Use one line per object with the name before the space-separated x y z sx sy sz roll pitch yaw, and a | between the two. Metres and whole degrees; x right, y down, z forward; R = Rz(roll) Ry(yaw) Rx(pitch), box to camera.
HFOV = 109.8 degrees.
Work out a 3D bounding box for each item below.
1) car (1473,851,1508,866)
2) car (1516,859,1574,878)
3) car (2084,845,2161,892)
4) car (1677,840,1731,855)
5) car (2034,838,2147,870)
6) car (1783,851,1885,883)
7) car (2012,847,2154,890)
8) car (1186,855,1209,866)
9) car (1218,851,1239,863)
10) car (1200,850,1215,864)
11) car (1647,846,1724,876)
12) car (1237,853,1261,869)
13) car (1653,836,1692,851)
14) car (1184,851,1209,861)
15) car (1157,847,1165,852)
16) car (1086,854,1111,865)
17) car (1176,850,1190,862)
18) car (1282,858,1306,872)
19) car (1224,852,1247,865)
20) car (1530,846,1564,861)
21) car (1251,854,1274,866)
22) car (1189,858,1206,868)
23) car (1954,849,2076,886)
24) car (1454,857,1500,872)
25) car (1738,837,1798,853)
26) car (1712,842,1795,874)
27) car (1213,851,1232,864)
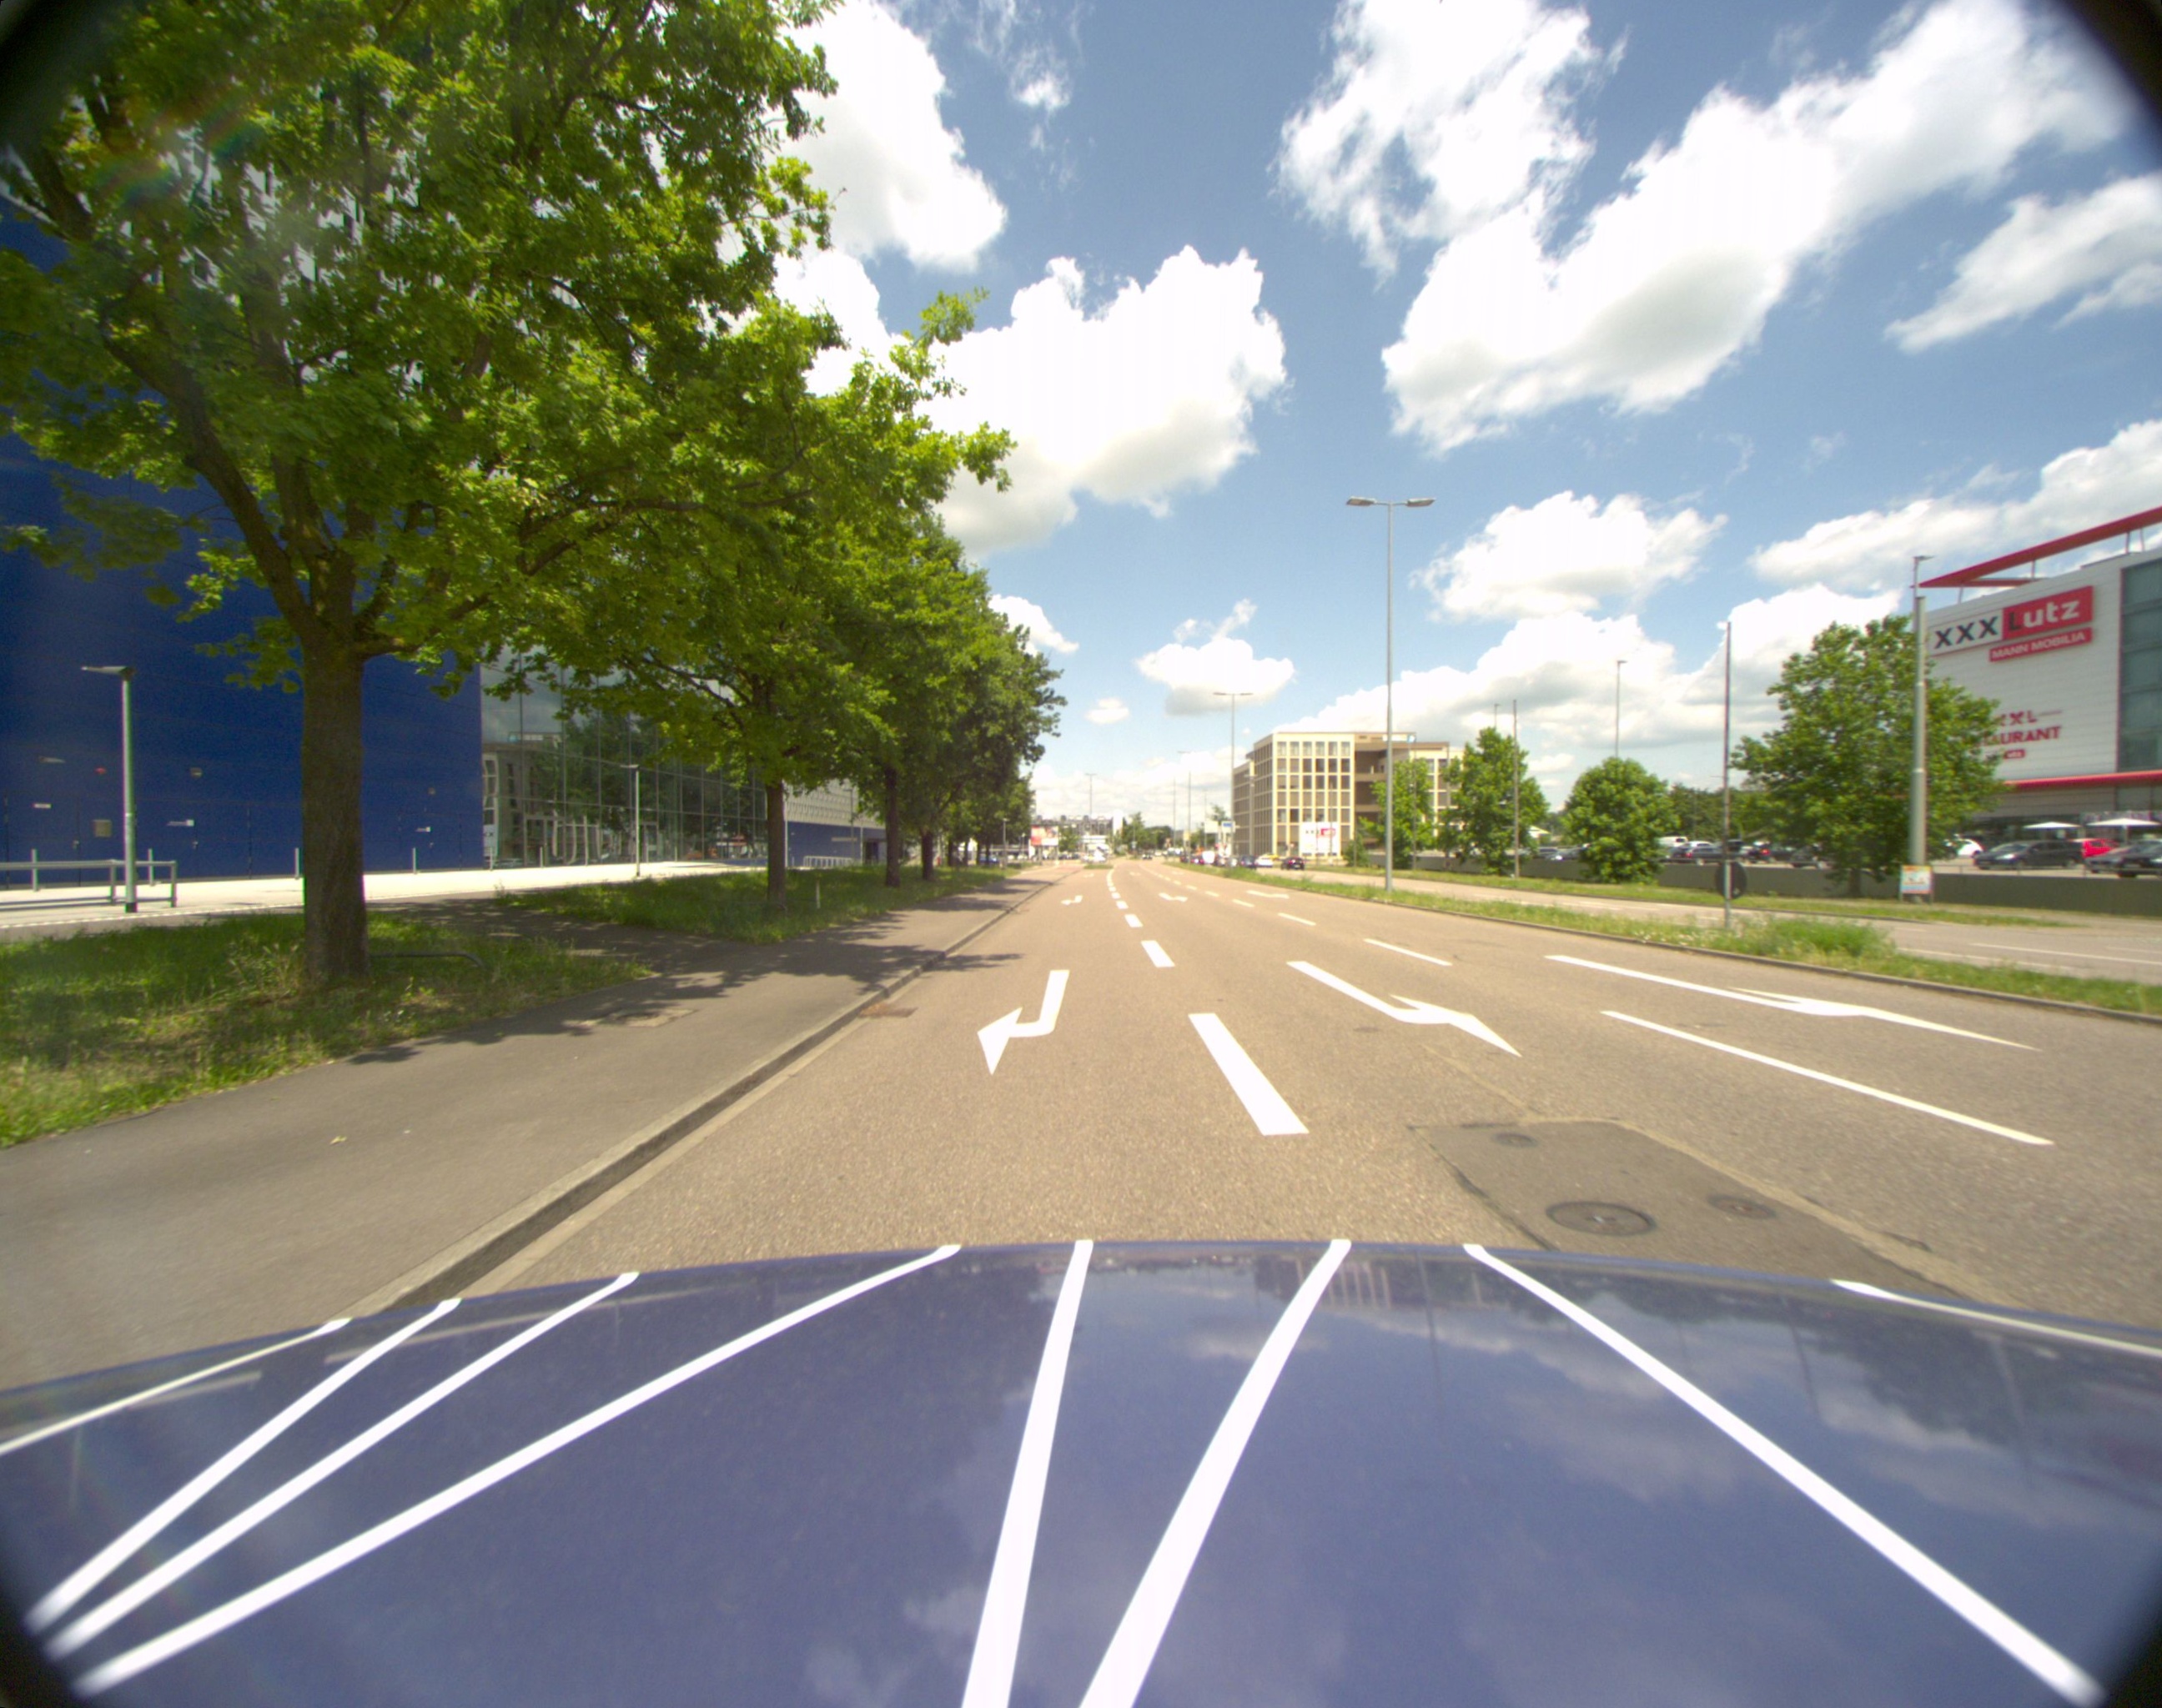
car | 51.417 0.511 95.573 1.854 1.822 4.674 0 0 0
car | 41.565 1.286 68.161 3.996 1.586 1.850 0 0 4
car | 47.058 0.614 32.967 4.359 1.978 2.000 0 1 0
car | 63.103 -0.636 77.012 3.829 1.461 1.856 0 0 3
car | 63.012 0.009 47.482 4.359 1.978 2.000 0 1 0
car | 46.927 0.815 47.422 4.359 1.977 2.000 0 -1 0
car | 49.505 0.690 37.603 4.359 2.038 2.000 0 1 0
car | 16.231 0.897 106.288 1.799 1.551 3.765 0 0 -16
car | 17.718 0.389 91.374 1.796 1.393 4.846 2 0 3
car | 18.607 0.465 112.189 1.861 2.031 3.577 0 0 4
car | 47.204 0.541 59.410 4.359 2.315 2.000 0 1 0
car | 16.820 0.696 76.168 1.743 1.466 3.676 0 1 4
car | 73.905 -1.345 95.018 1.855 1.822 3.833 0 0 0
car | 18.992 0.302 125.183 3.994 1.681 1.859 0 0 8
car | 26.001 -1.384 247.374 2.289 1.708 4.483 0 1 4
car | 2.918 0.930 126.859 3.997 1.681 1.858 0 0 -1
car | 15.029 0.295 112.357 1.795 1.635 4.172 0 0 4
car | 22.475 1.147 80.171 1.622 1.461 4.118 0 0 4
car | 17.251 0.511 84.896 1.796 1.409 4.675 1 0 2
car | 58.953 -0.019 96.126 1.855 1.822 3.832 0 0 -2
car | 22.810 0.779 95.654 1.624 1.464 4.357 0 0 -4
car | 15.288 1.133 100.288 1.796 1.243 4.308 0 0 3
car | 51.911 0.721 42.299 4.297 2.031 1.991 0 1 0
car | 42.774 1.154 82.192 3.996 1.586 1.919 0 0 4
car | 62.719 -0.803 69.385 3.829 1.461 1.681 0 0 3
car | 49.963 0.302 56.513 4.359 2.315 2.000 0 1 0
car | 18.291 0.431 98.289 1.796 1.691 4.228 0 0 3
